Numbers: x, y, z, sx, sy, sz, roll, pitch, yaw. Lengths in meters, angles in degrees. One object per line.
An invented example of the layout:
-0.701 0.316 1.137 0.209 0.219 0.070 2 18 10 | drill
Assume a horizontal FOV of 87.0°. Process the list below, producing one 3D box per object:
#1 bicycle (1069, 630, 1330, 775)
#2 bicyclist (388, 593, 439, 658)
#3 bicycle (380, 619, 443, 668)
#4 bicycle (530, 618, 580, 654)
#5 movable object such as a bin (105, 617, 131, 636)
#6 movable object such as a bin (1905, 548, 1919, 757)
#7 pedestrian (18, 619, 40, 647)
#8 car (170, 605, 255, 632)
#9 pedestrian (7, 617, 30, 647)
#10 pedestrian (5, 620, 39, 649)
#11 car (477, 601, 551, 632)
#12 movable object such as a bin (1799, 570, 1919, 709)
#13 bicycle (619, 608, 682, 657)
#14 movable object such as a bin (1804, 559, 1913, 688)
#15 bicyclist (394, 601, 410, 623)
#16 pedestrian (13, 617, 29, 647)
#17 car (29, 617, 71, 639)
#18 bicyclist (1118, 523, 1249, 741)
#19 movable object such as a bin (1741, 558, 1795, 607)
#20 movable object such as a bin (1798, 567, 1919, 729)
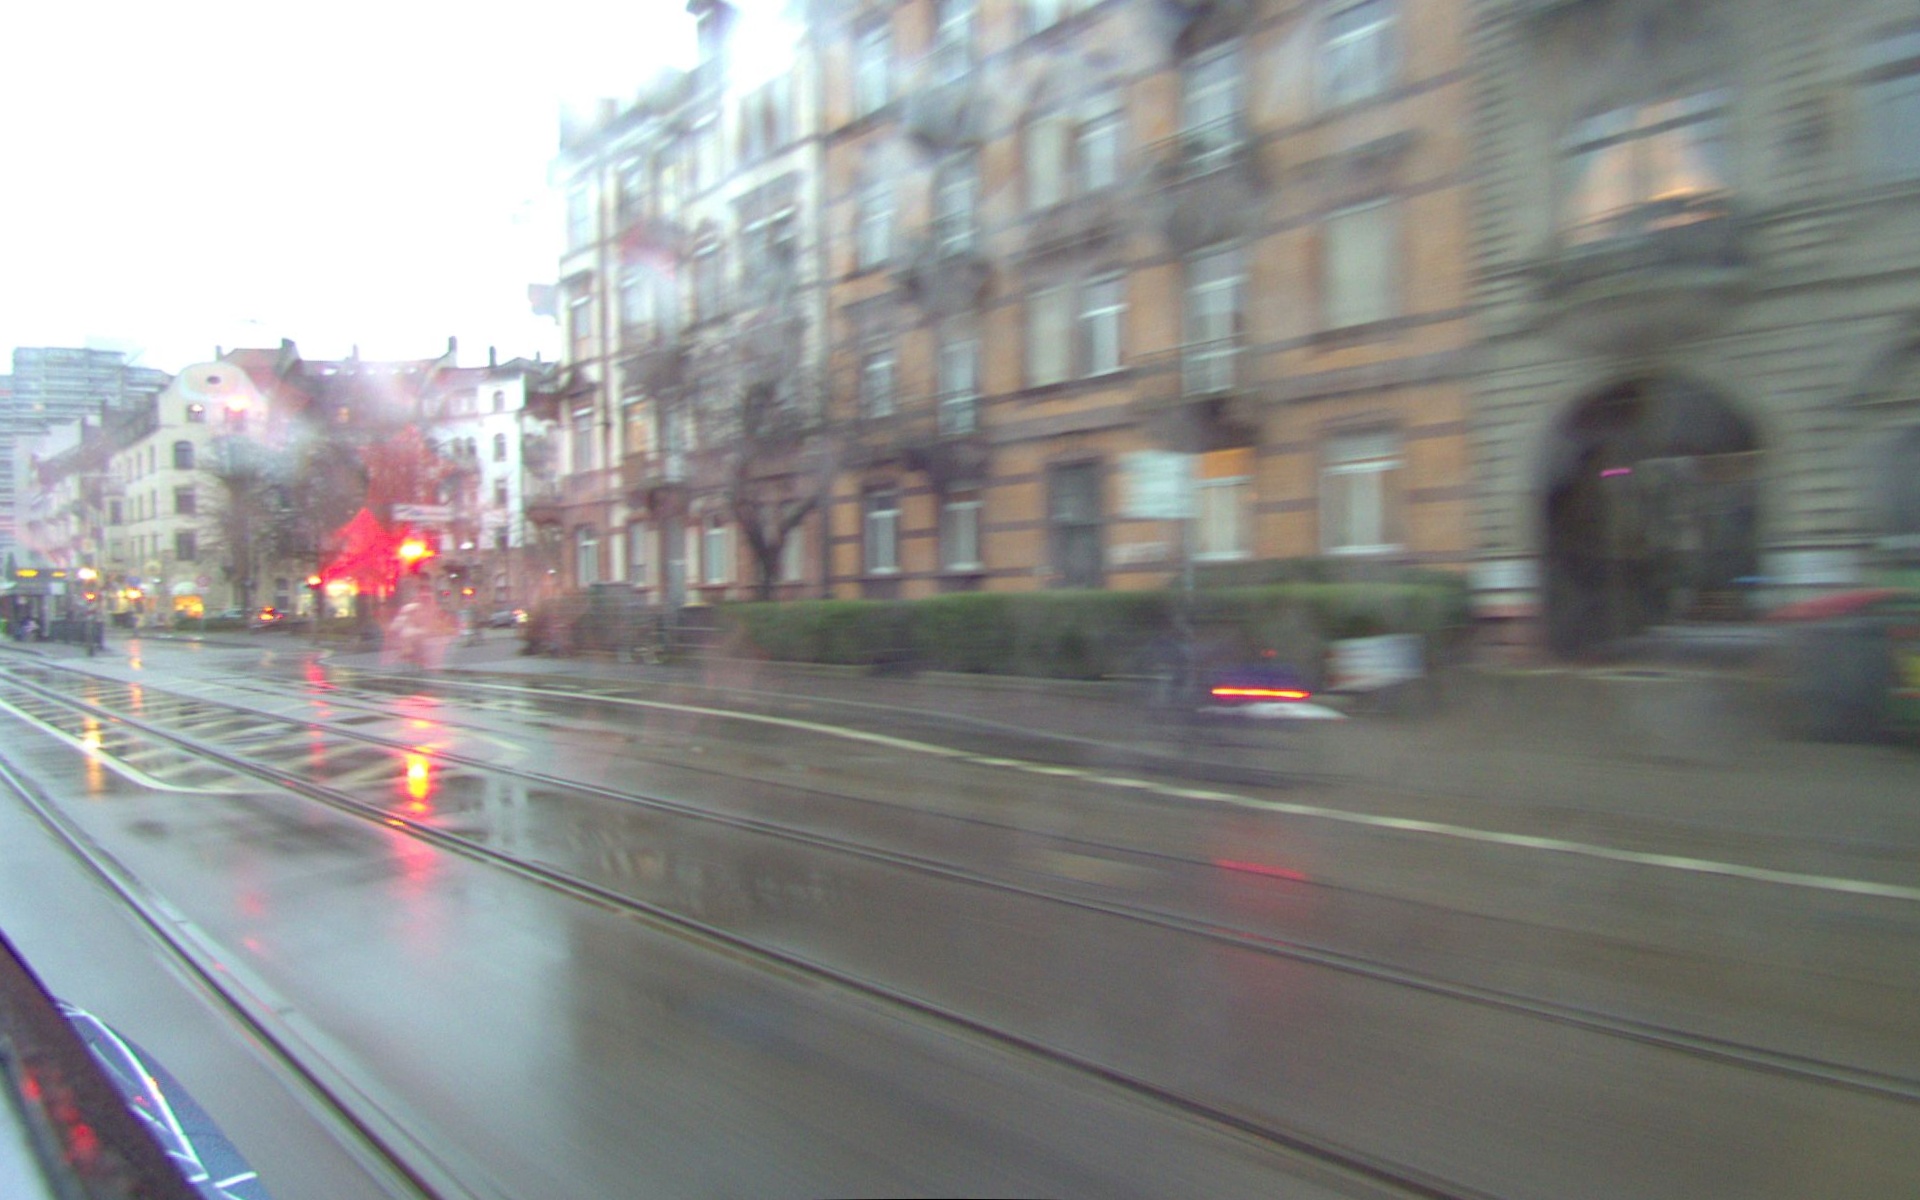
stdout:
1.846 0.747 8.030 1.933 0.979 0.671 -1 0 43 | bicycle
-12.081 0.544 22.367 0.944 1.374 0.697 -1 2 43 | bicyclist
-12.205 0.951 22.499 1.803 1.014 0.674 -1 0 43 | bicycle
-10.109 0.885 25.247 1.849 0.869 0.395 -1 0 43 | bicycle
-68.141 2.148 81.887 1.280 1.382 1.335 -1 3 40 | movable object such as a bin
8.161 0.381 7.723 1.229 1.597 1.309 -2 1 -44 | movable object such as a bin
-43.209 1.514 46.952 0.517 1.227 0.646 -1 2 41 | pedestrian
-49.161 1.198 66.649 4.269 1.595 1.943 -2 1 -29 | car
-44.969 1.523 48.339 0.578 1.414 0.677 -1 2 41 | pedestrian
-43.820 1.592 47.279 0.506 1.263 1.045 -1 3 41 | pedestrian
-26.773 1.024 60.773 3.833 1.785 1.867 -1 -1 20 | car
8.510 0.341 9.492 0.945 1.216 1.173 -1 0 39 | movable object such as a bin
-6.690 0.692 21.828 1.849 1.014 0.411 -1 0 43 | bicycle
9.251 0.228 10.456 0.773 1.253 1.000 -1 0 39 | movable object such as a bin
-36.165 0.797 65.623 0.762 1.374 0.525 -1 2 30 | bicyclist
-44.557 1.517 48.022 0.453 1.414 0.468 -1 2 41 | pedestrian
-71.019 2.181 78.956 3.671 1.527 1.658 -1 2 36 | car
1.780 0.238 8.065 0.765 1.628 0.676 -1 0 43 | bicyclist
26.219 -0.565 32.831 1.282 1.538 1.488 -1 1 41 | movable object such as a bin
7.742 0.383 8.734 0.746 1.302 0.886 -1 0 39 | movable object such as a bin
